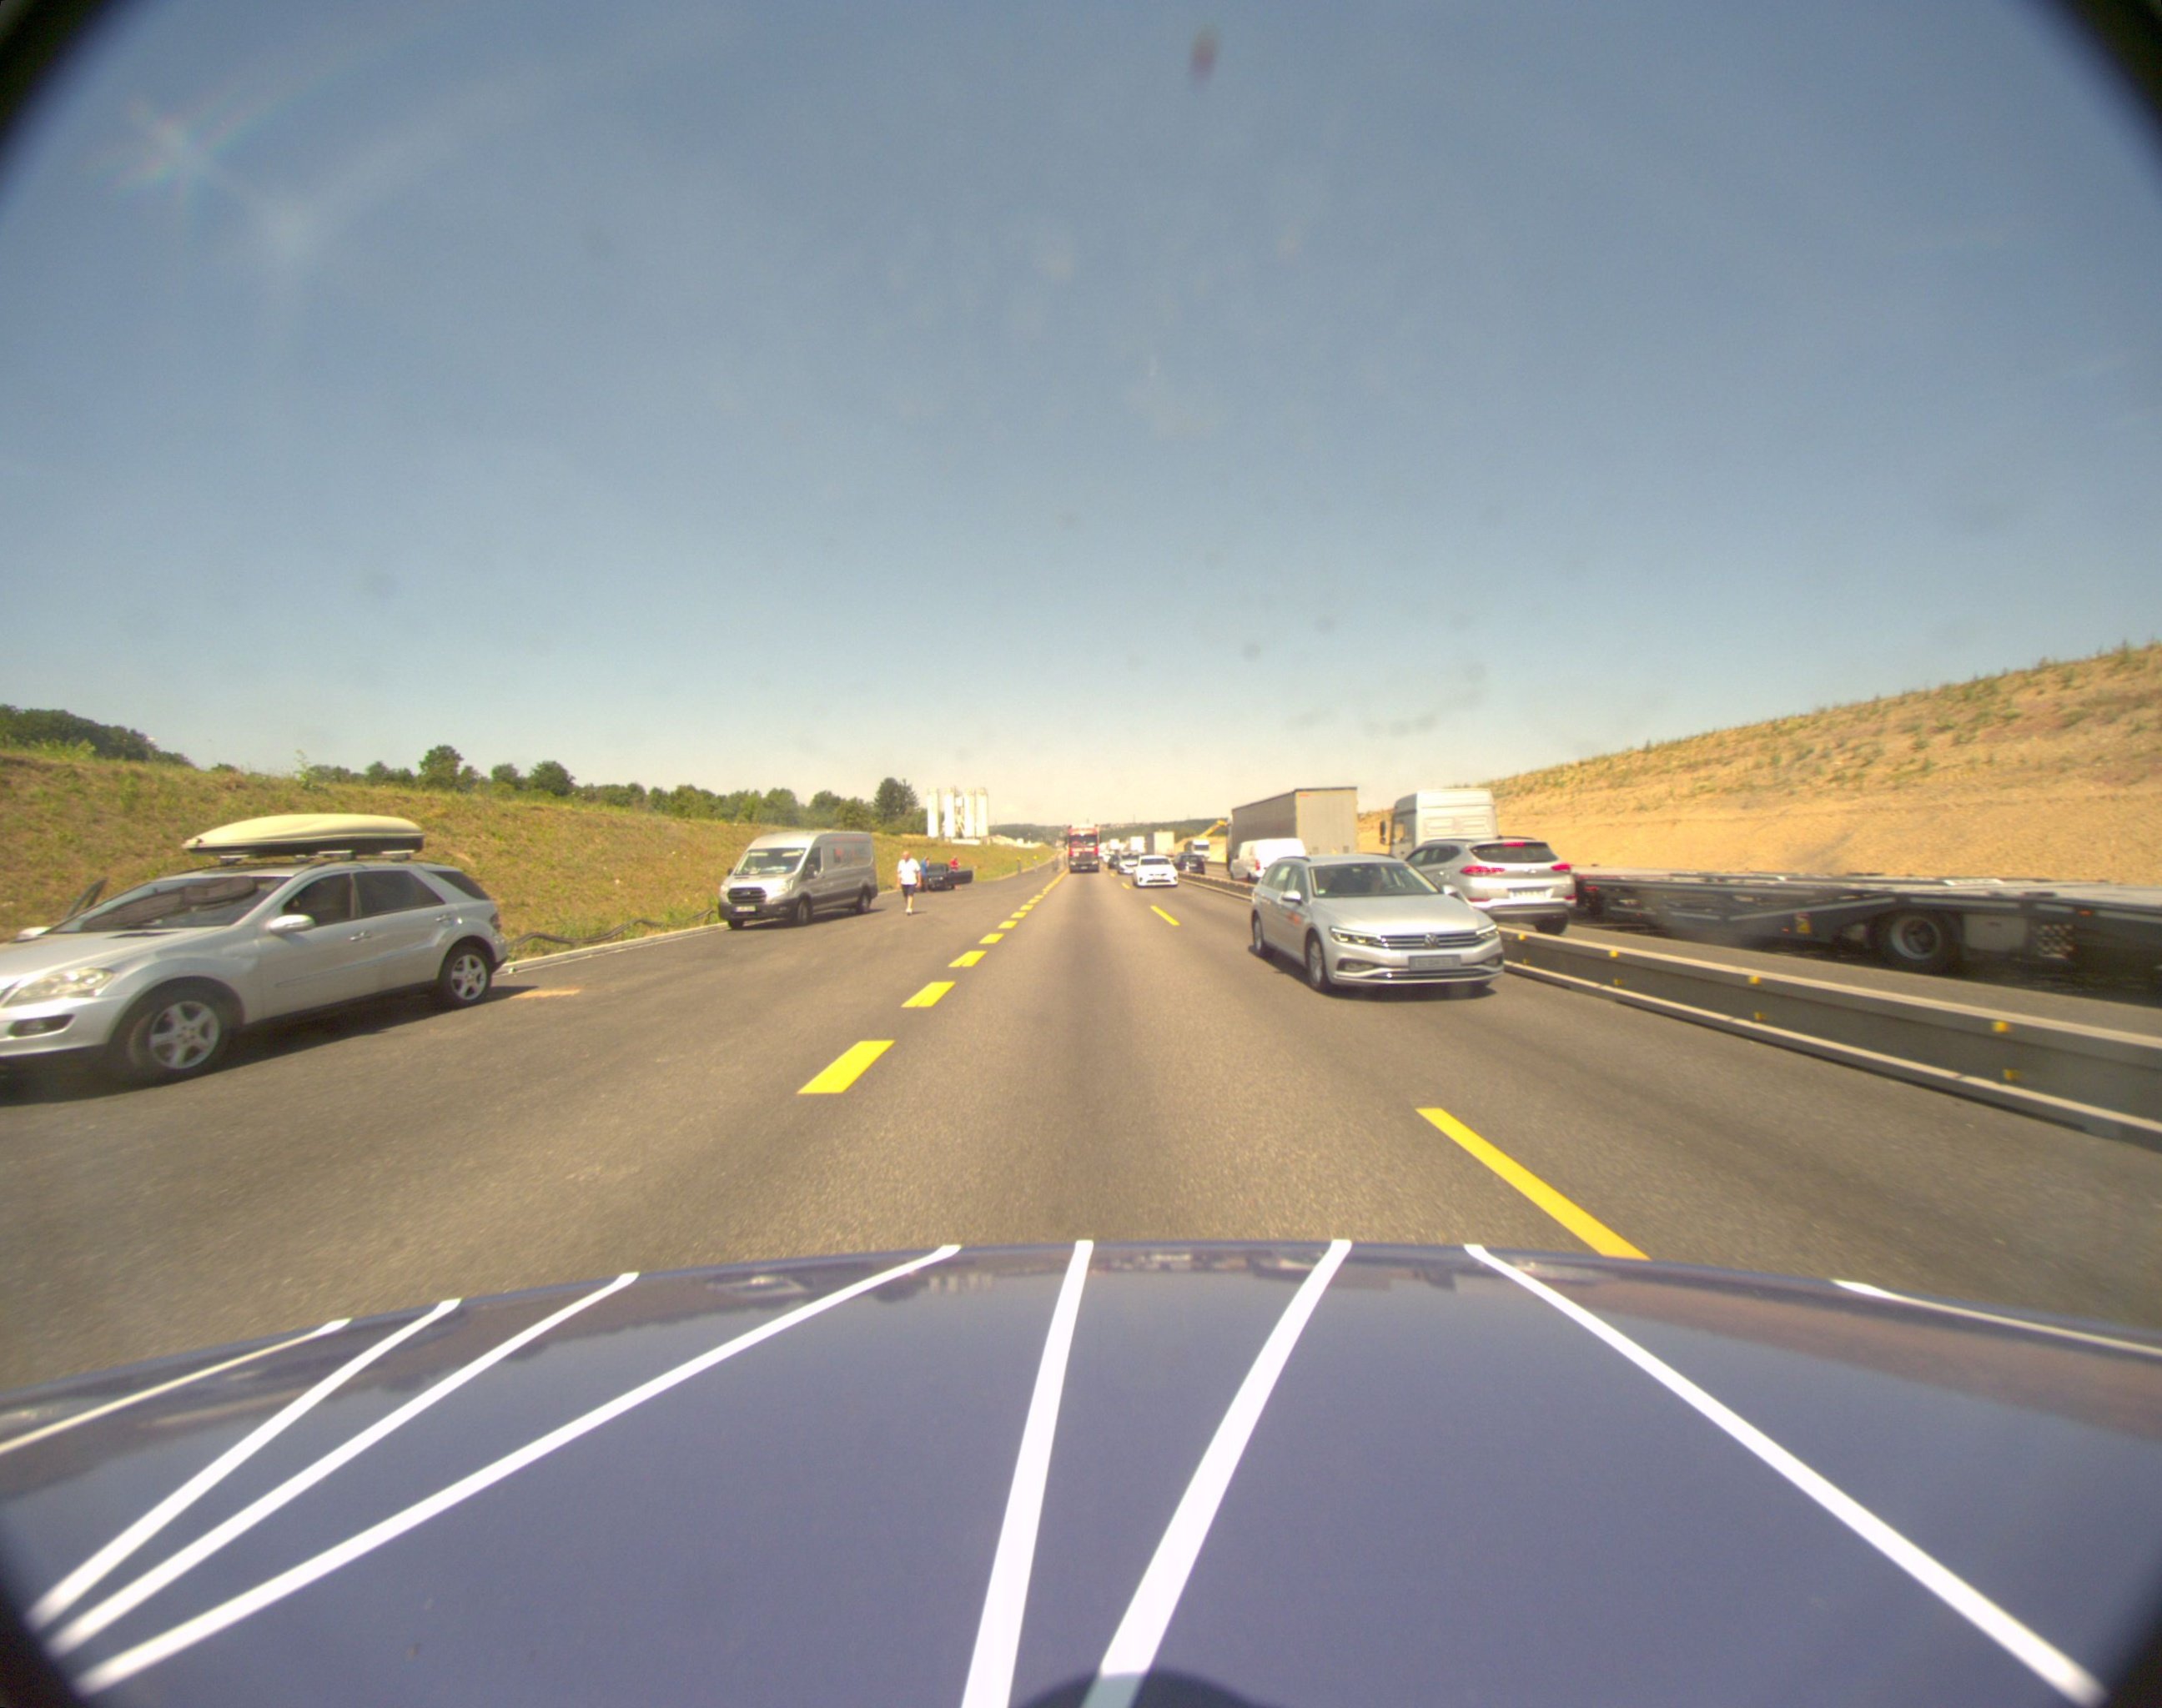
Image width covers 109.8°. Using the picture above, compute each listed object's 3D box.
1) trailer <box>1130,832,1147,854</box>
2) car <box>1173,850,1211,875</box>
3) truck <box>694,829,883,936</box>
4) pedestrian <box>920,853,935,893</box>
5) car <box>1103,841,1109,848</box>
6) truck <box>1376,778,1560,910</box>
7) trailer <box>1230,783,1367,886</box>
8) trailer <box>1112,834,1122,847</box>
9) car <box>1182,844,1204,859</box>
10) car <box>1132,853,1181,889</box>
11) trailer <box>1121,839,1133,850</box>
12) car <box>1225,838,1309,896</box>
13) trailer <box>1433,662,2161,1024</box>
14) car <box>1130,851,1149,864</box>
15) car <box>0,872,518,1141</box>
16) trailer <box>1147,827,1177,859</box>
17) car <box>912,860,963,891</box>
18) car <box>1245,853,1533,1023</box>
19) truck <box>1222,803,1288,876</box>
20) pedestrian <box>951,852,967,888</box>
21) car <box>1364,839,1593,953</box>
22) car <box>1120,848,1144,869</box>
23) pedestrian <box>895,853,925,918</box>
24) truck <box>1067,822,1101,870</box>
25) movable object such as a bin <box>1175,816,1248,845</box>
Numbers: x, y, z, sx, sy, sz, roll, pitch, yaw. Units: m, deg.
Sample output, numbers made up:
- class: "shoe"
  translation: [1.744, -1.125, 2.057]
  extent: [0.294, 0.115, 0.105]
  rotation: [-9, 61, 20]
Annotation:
- class: "trailer"
  translation: [11.168, -2.169, 149.493]
  extent: [2.508, 4.155, 15.532]
  rotation: [0, 1, 1]
- class: "car"
  translation: [7.071, 0.491, 48.759]
  extent: [1.731, 1.379, 4.483]
  rotation: [-2, 1, 0]
- class: "truck"
  translation: [-7.674, 0.657, 20.828]
  extent: [2.134, 2.442, 5.928]
  rotation: [-2, 0, 8]
- class: "pedestrian"
  translation: [-7.310, 0.894, 36.138]
  extent: [0.626, 1.817, 0.642]
  rotation: [-3, 1, -11]
- class: "car"
  translation: [8.539, -3.311, 261.640]
  extent: [1.998, 2.279, 5.342]
  rotation: [-2, 1, 0]
- class: "truck"
  translation: [10.173, -0.301, 20.555]
  extent: [2.404, 3.041, 5.061]
  rotation: [-2, 2, 1]
- class: "trailer"
  translation: [10.181, -0.828, 37.666]
  extent: [2.797, 4.051, 13.710]
  rotation: [-2, 0, 0]
- class: "trailer"
  translation: [11.763, -4.395, 250.966]
  extent: [2.861, 4.070, 13.649]
  rotation: [-1, 1, 0]
- class: "car"
  translation: [11.638, -0.259, 79.313]
  extent: [1.634, 1.416, 4.500]
  rotation: [-2, 1, 0]
- class: "car"
  translation: [3.401, 0.717, 34.874]
  extent: [1.875, 1.390, 4.029]
  rotation: [-2, 1, 1]
- class: "trailer"
  translation: [11.314, -2.250, 187.956]
  extent: [2.317, 2.671, 6.753]
  rotation: [0, 1, -1]
- class: "car"
  translation: [6.928, 0.412, 28.866]
  extent: [1.830, 1.916, 5.262]
  rotation: [-2, 1, 0]
- class: "trailer"
  translation: [10.013, -0.202, 11.708]
  extent: [2.352, 2.915, 15.269]
  rotation: [-2, 1, 1]
- class: "car"
  translation: [6.879, 0.408, 89.758]
  extent: [1.733, 1.379, 4.859]
  rotation: [-2, 1, 0]
- class: "car"
  translation: [-8.025, 1.086, 7.256]
  extent: [1.779, 1.667, 4.854]
  rotation: [-3, 0, -3]
- class: "trailer"
  translation: [10.826, -1.442, 103.167]
  extent: [2.660, 3.915, 13.994]
  rotation: [-2, 1, 1]
- class: "car"
  translation: [-7.255, 1.039, 38.725]
  extent: [1.658, 1.418, 4.545]
  rotation: [0, 0, 1]
- class: "car"
  translation: [3.348, 0.790, 9.207]
  extent: [1.804, 1.499, 4.100]
  rotation: [-2, 0, 0]
- class: "truck"
  translation: [10.293, -0.882, 45.379]
  extent: [2.775, 4.021, 4.942]
  rotation: [-2, 2, 1]
- class: "pedestrian"
  translation: [-6.339, 0.819, 39.513]
  extent: [0.643, 1.817, 0.558]
  rotation: [-3, 1, -20]
- class: "car"
  translation: [6.781, 0.593, 13.590]
  extent: [1.729, 1.621, 4.389]
  rotation: [-2, 1, -1]
- class: "car"
  translation: [3.711, 0.316, 55.792]
  extent: [1.601, 1.390, 3.694]
  rotation: [-2, 1, 1]
- class: "pedestrian"
  translation: [-4.931, 0.894, 21.917]
  extent: [0.726, 1.818, 0.719]
  rotation: [-3, 2, -15]
- class: "truck"
  translation: [0.350, -0.783, 65.963]
  extent: [2.537, 3.799, 9.479]
  rotation: [-2, 1, 1]
- class: "movable object such as a bin"
  translation: [33.978, -6.180, 198.473]
  extent: [18.266, 6.735, 3.387]
  rotation: [-2, 2, 0]
